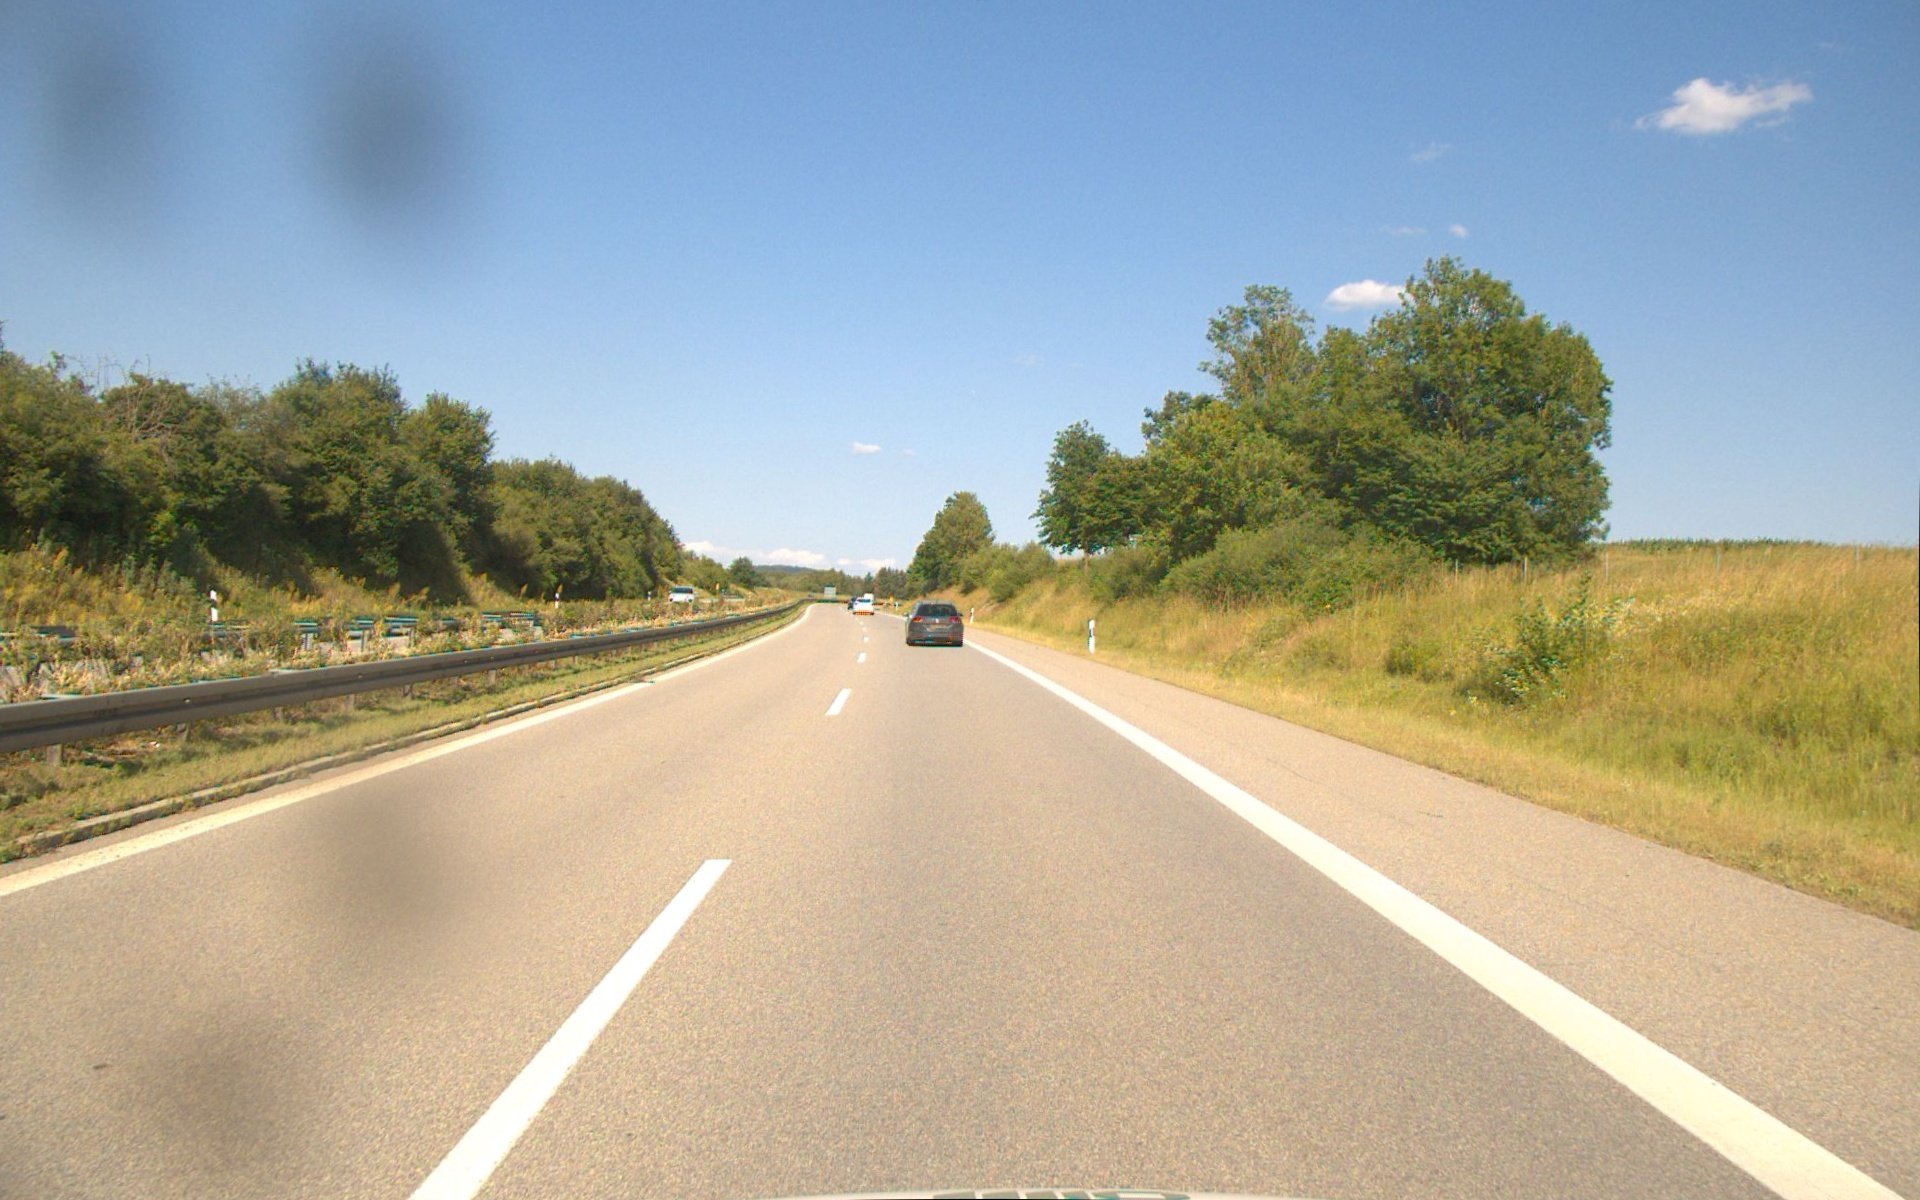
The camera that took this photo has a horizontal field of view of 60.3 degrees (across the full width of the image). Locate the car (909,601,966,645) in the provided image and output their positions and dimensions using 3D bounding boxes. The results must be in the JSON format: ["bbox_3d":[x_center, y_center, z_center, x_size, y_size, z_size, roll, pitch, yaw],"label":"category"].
[{"bbox_3d":[-0.771,0.722,53.993,1.755,1.368,3.998,0,0,-2],"label":"car"}]

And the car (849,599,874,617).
[{"bbox_3d":[-8.325,0.697,139.444,1.968,1.368,3.996,4,-1,-5],"label":"car"}]

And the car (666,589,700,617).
[{"bbox_3d":[-20.526,0.229,122.676,1.954,2.049,4.852,1,0,-3],"label":"car"}]

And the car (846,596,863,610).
[{"bbox_3d":[-12.241,0.346,191.730,1.677,1.411,3.353,6,-1,-2],"label":"car"}]
